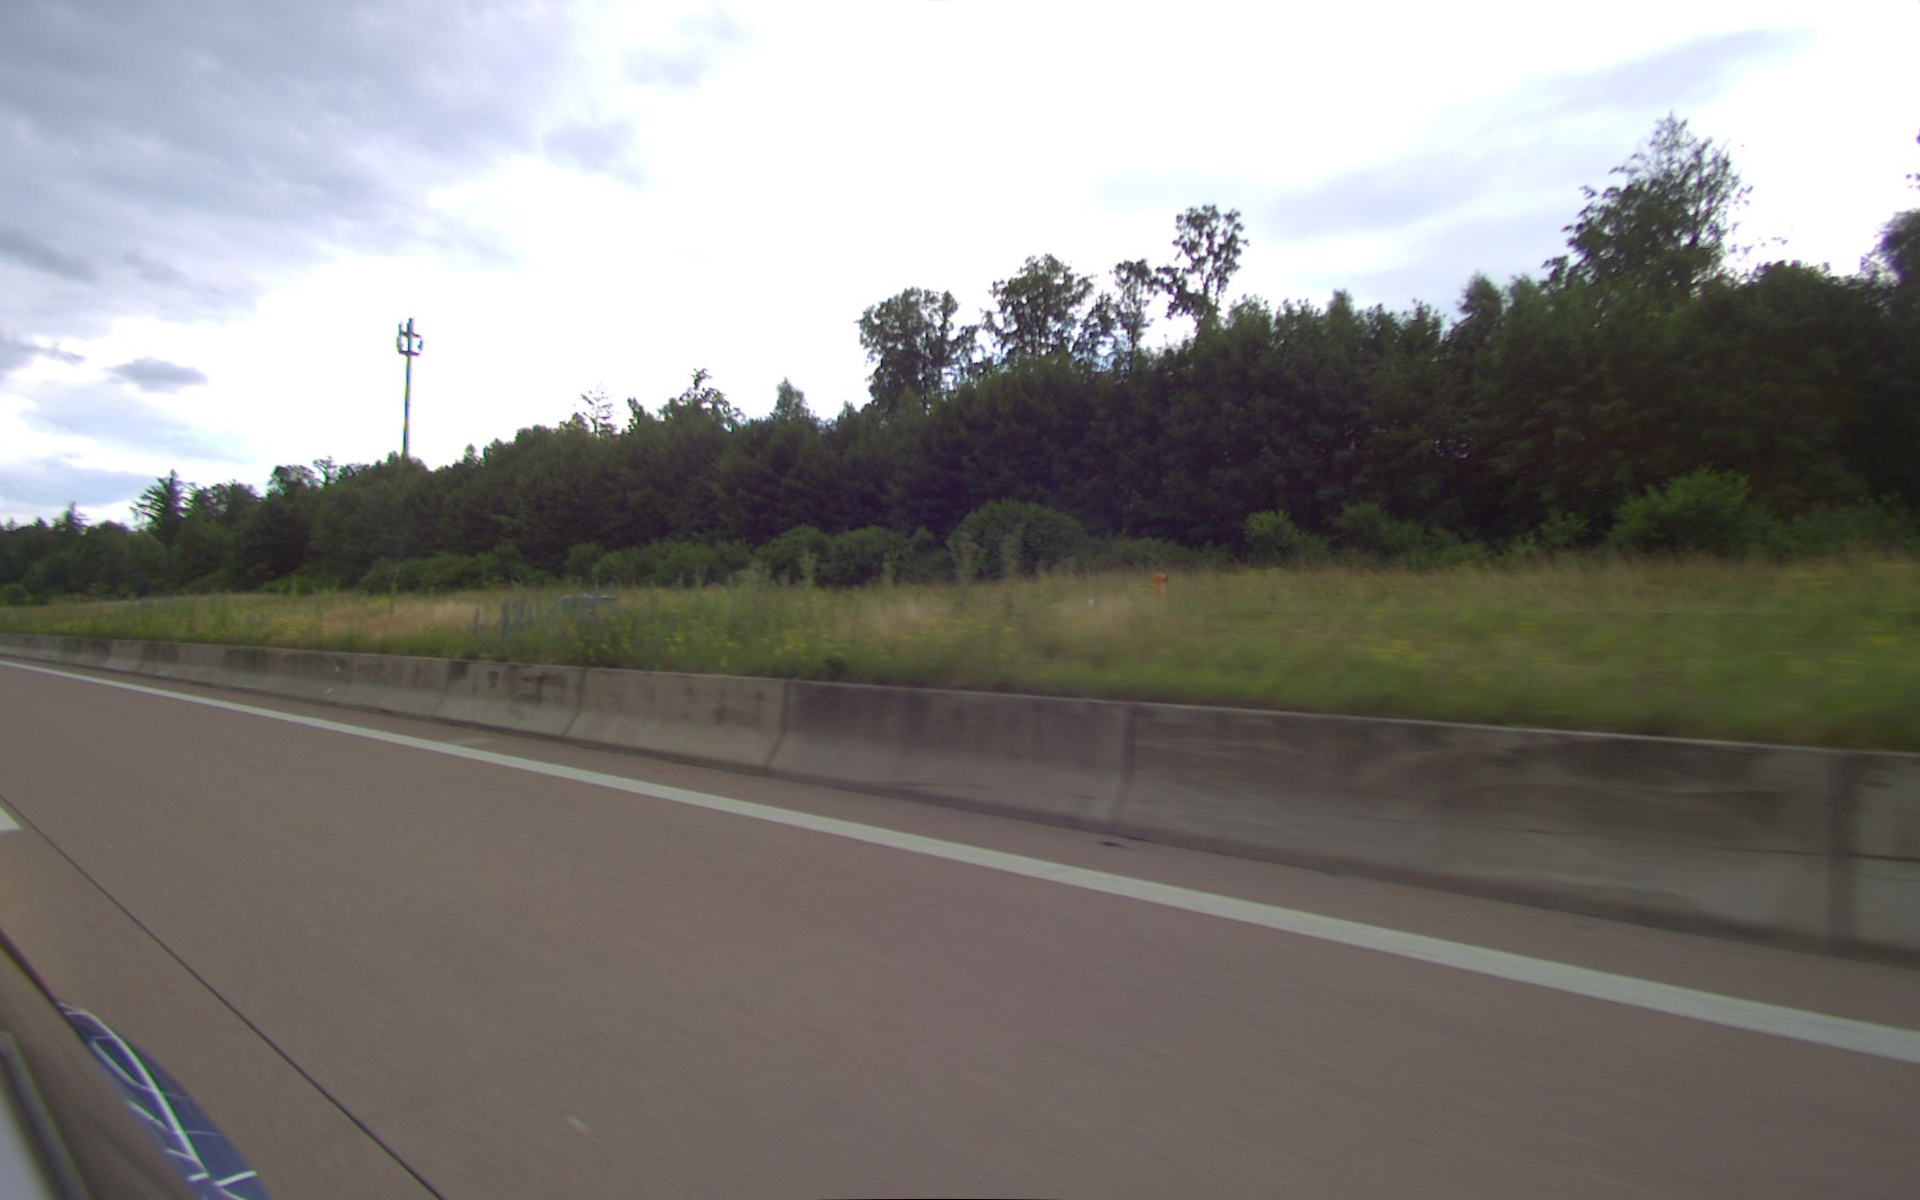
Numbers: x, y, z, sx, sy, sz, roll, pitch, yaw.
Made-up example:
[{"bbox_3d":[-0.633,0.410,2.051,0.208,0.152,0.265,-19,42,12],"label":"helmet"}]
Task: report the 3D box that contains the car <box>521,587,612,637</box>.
[{"bbox_3d":[-15.170,0.435,38.950,3.804,1.834,1.651,1,1,39],"label":"car"}]
